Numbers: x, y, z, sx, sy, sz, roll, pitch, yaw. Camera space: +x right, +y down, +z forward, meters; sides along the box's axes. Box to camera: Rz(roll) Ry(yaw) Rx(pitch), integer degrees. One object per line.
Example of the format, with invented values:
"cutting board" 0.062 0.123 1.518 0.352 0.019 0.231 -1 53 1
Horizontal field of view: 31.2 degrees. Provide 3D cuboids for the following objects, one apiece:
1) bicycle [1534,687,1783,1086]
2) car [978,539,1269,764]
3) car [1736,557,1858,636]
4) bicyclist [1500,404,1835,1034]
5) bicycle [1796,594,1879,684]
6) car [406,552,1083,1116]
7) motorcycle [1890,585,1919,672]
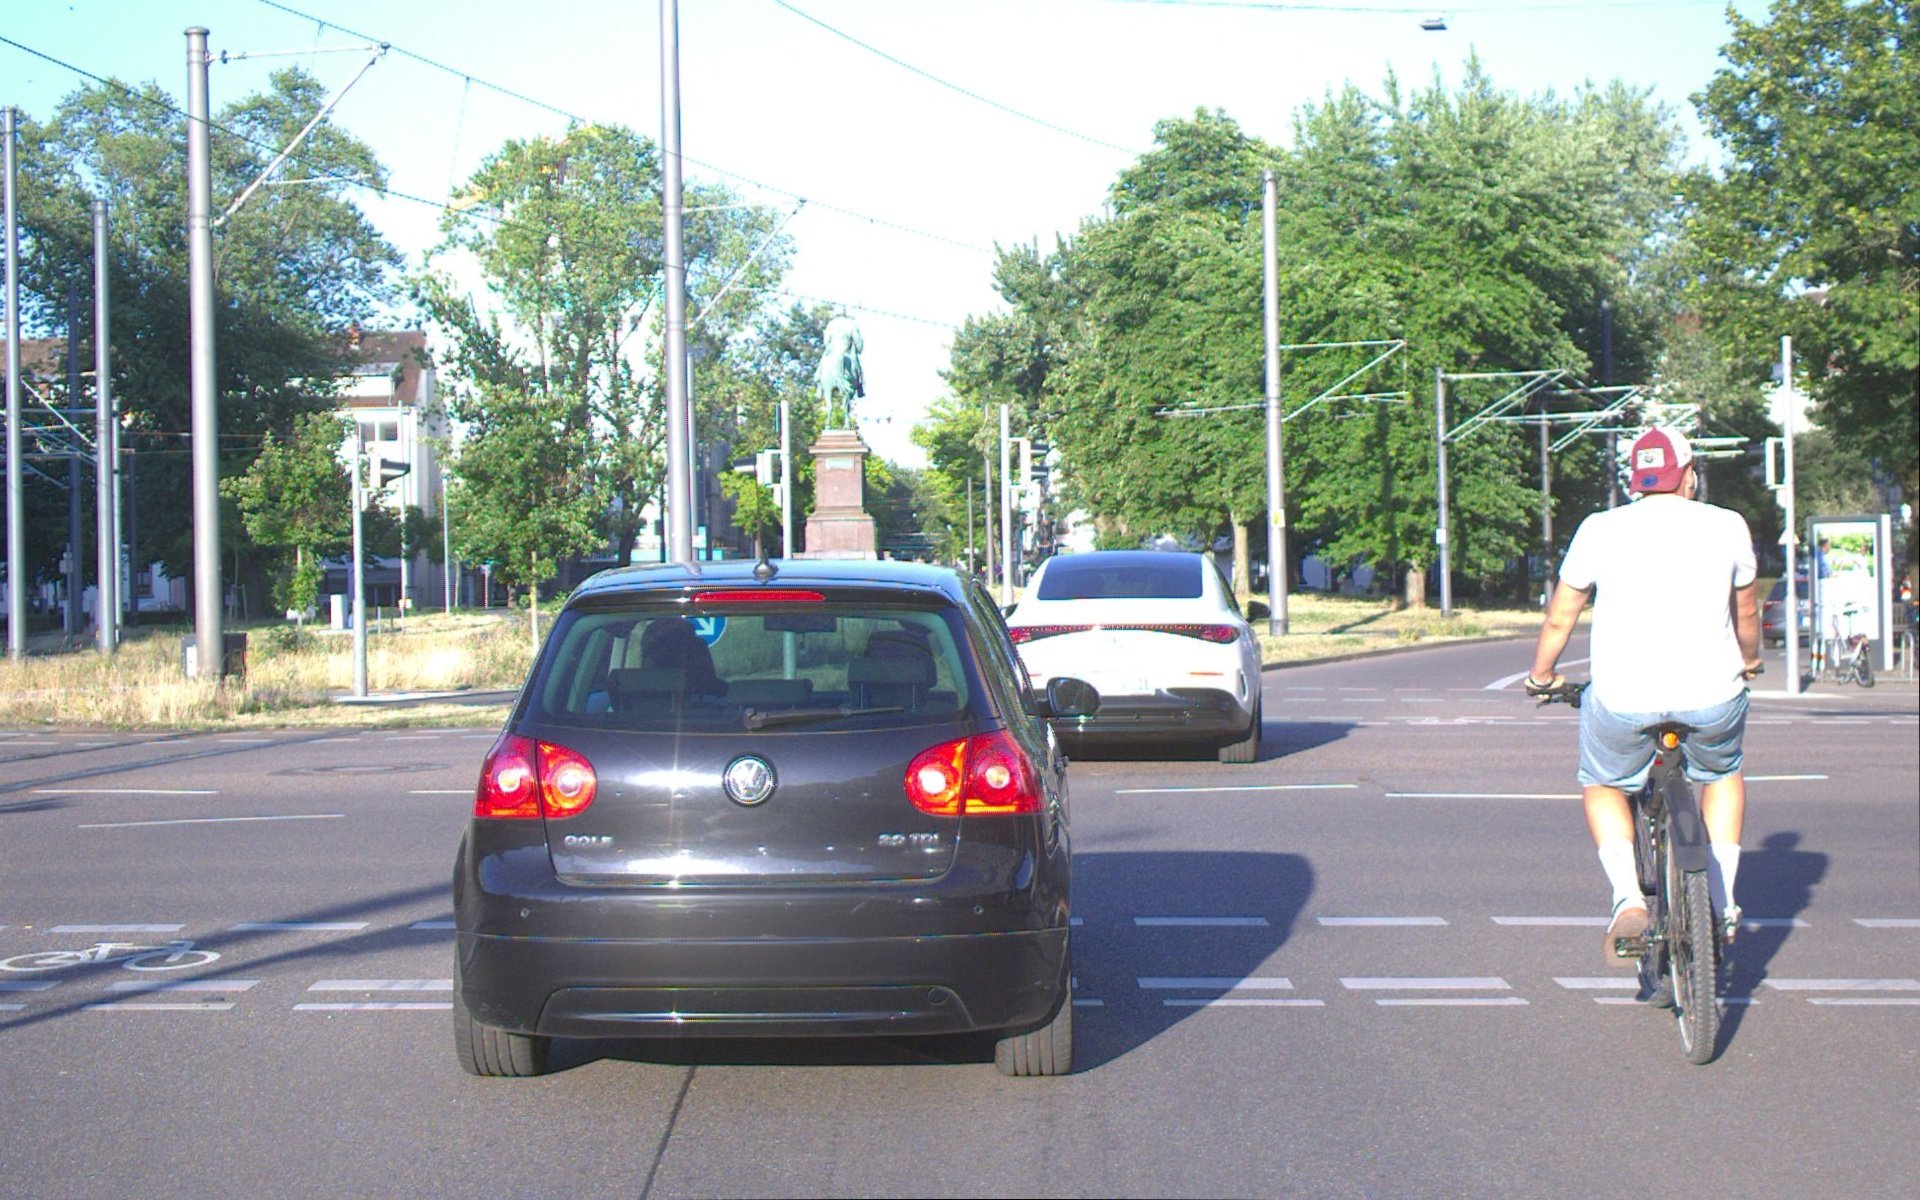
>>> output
"bicycle" 2.078 0.811 10.409 0.478 1.024 1.981 -1 0 4
"car" 1.248 0.314 24.450 1.865 1.436 4.196 -1 1 5
"car" 16.911 -0.097 69.358 1.730 1.467 3.894 -3 -1 23
"bicyclist" 2.109 0.339 10.378 0.826 1.801 1.057 -1 0 3
"bicycle" 11.639 0.510 45.652 0.645 1.123 1.874 -1 1 1
"car" -0.505 0.587 10.947 1.747 1.456 4.103 0 1 2
"motorcycle" 14.254 0.409 50.757 0.666 1.238 2.200 -1 1 6
